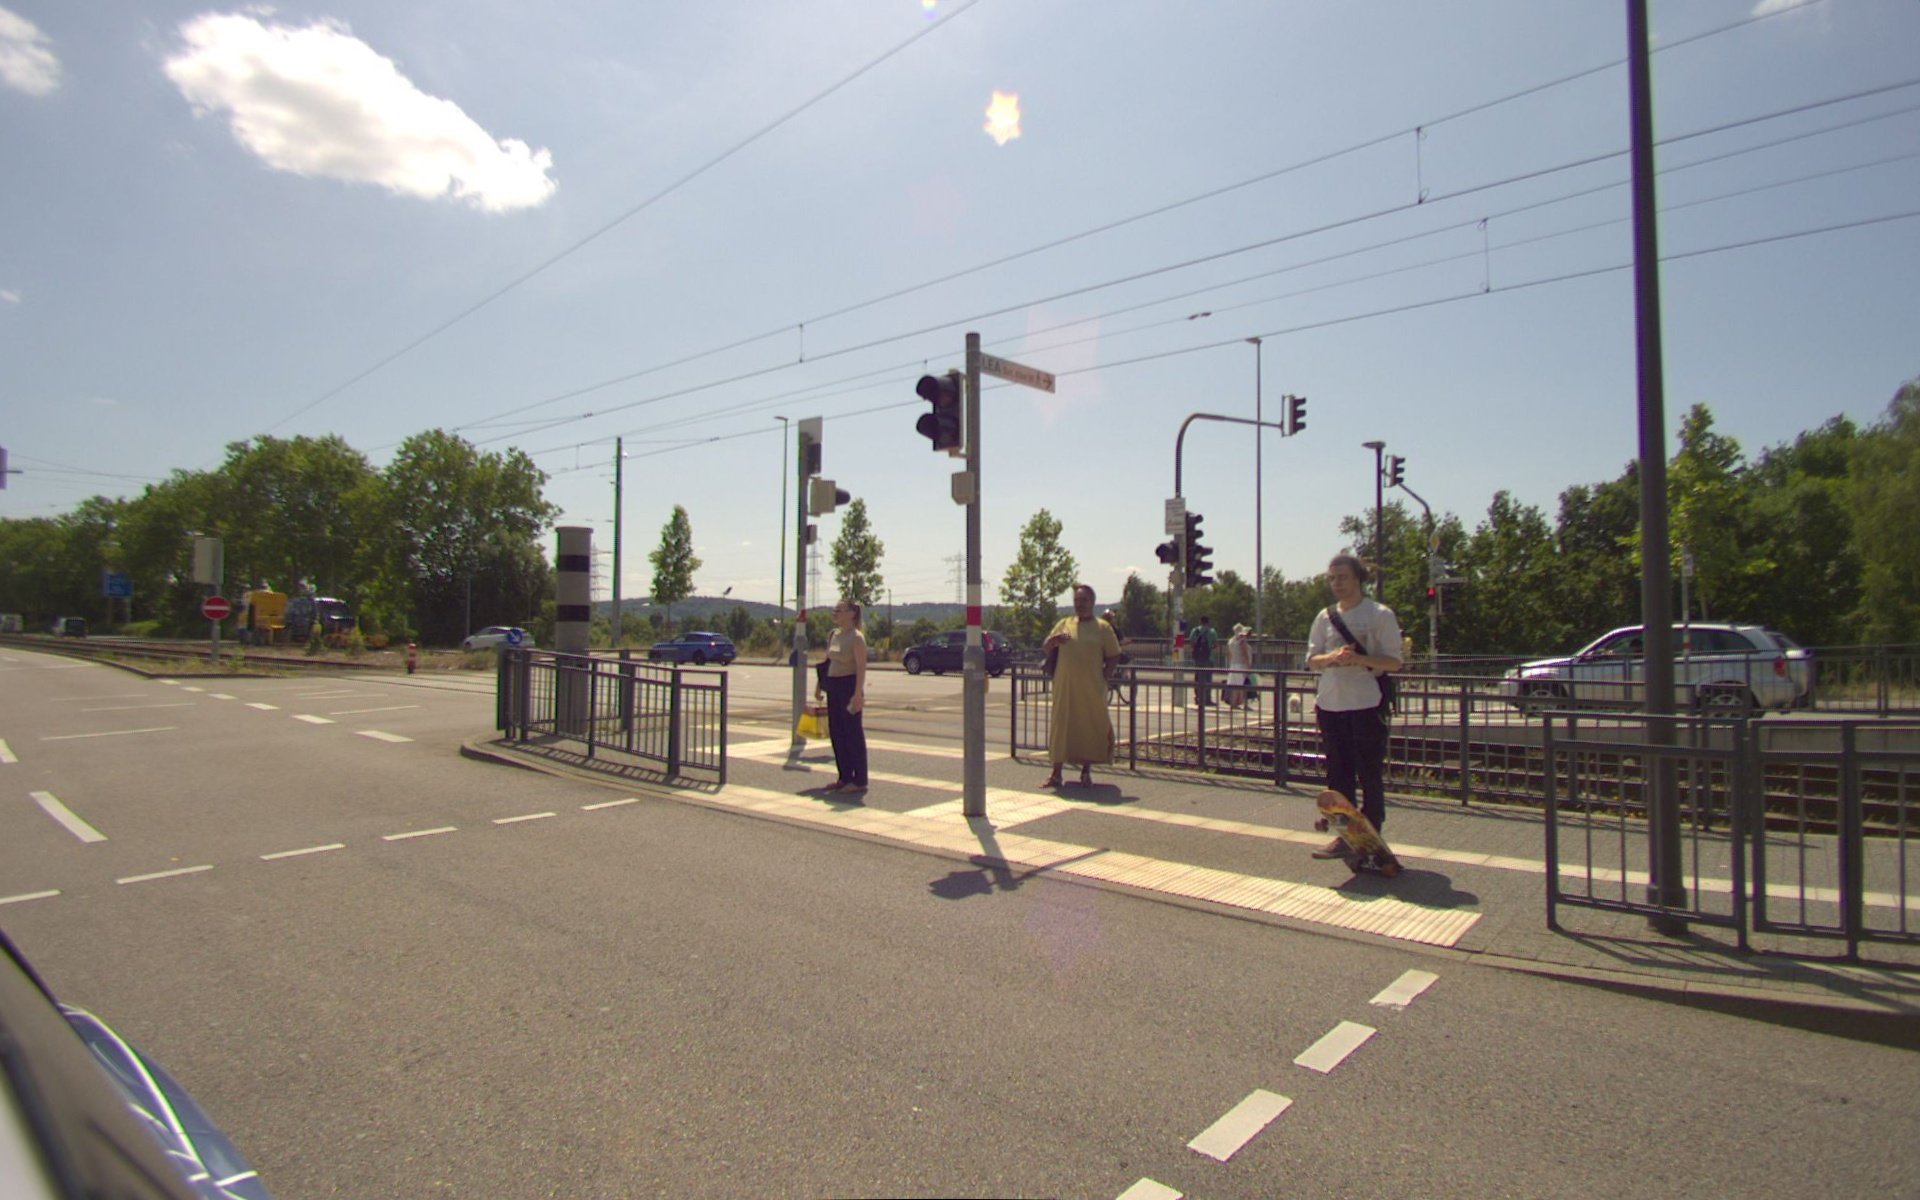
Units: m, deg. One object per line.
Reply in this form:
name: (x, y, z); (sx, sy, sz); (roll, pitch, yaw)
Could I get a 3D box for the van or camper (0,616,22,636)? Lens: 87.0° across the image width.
van or camper: (-126.513, 3.448, 134.275); (5.834, 2.606, 1.975); (-1, -3, 37)

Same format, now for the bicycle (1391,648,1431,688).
bicycle: (14.263, 2.150, 31.988); (1.511, 1.202, 0.591); (1, -2, -43)

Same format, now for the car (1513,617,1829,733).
car: (11.471, 1.131, 16.464); (3.998, 1.641, 1.972); (-2, -2, 41)

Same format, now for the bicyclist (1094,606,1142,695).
bicyclist: (2.938, 0.926, 18.824); (0.729, 1.627, 0.661); (-1, -1, 24)

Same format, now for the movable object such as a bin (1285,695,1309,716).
movable object such as a bin: (5.858, 1.828, 17.564); (0.228, 0.323, 0.565); (-1, -2, 36)

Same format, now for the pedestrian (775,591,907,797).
pedestrian: (-0.981, 0.736, 8.368); (0.763, 1.584, 0.778); (-1, -2, 37)

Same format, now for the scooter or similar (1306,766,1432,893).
scooter or similar: (2.210, 1.209, 5.453); (0.456, 0.510, 0.719); (-2, -2, 37)

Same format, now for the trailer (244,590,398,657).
trailer: (-41.208, 1.476, 64.887); (15.458, 3.900, 3.085); (0, -3, 38)

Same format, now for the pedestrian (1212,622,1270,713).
pedestrian: (4.990, 1.178, 17.963); (0.763, 1.560, 0.754); (-2, -2, 38)

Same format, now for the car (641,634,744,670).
car: (-11.716, 2.234, 44.250); (4.335, 1.456, 1.978); (-1, -2, 32)

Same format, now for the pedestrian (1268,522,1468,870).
pedestrian: (2.383, 0.513, 5.901); (0.882, 1.816, 0.855); (-1, -2, 36)

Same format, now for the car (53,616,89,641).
car: (-81.361, 2.631, 92.692); (1.967, 1.852, 4.443); (4, -9, -36)

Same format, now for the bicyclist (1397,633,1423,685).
bicyclist: (14.188, 1.845, 31.906); (0.578, 1.622, 0.544); (2, -3, -44)

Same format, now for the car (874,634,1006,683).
car: (-0.737, 2.032, 35.860); (4.291, 1.642, 1.980); (-1, -2, 30)

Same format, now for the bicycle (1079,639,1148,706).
bicycle: (2.838, 1.301, 18.555); (0.760, 1.109, 1.961); (-1, -1, 24)

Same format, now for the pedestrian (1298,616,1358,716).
pedestrian: (6.384, 1.121, 17.553); (0.763, 1.685, 0.754); (-2, -2, 38)

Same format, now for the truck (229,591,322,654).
truck: (-47.000, 1.497, 69.451); (7.465, 4.069, 3.095); (0, -1, 38)

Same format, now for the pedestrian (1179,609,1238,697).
pedestrian: (4.736, 1.002, 19.284); (0.763, 1.622, 0.947); (-2, -2, 38)

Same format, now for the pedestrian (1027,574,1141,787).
pedestrian: (1.043, 0.645, 8.504); (0.677, 1.685, 0.725); (-1, -2, 37)

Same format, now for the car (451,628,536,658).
car: (-24.136, 2.195, 52.346); (4.264, 1.474, 1.978); (-1, -2, 32)
